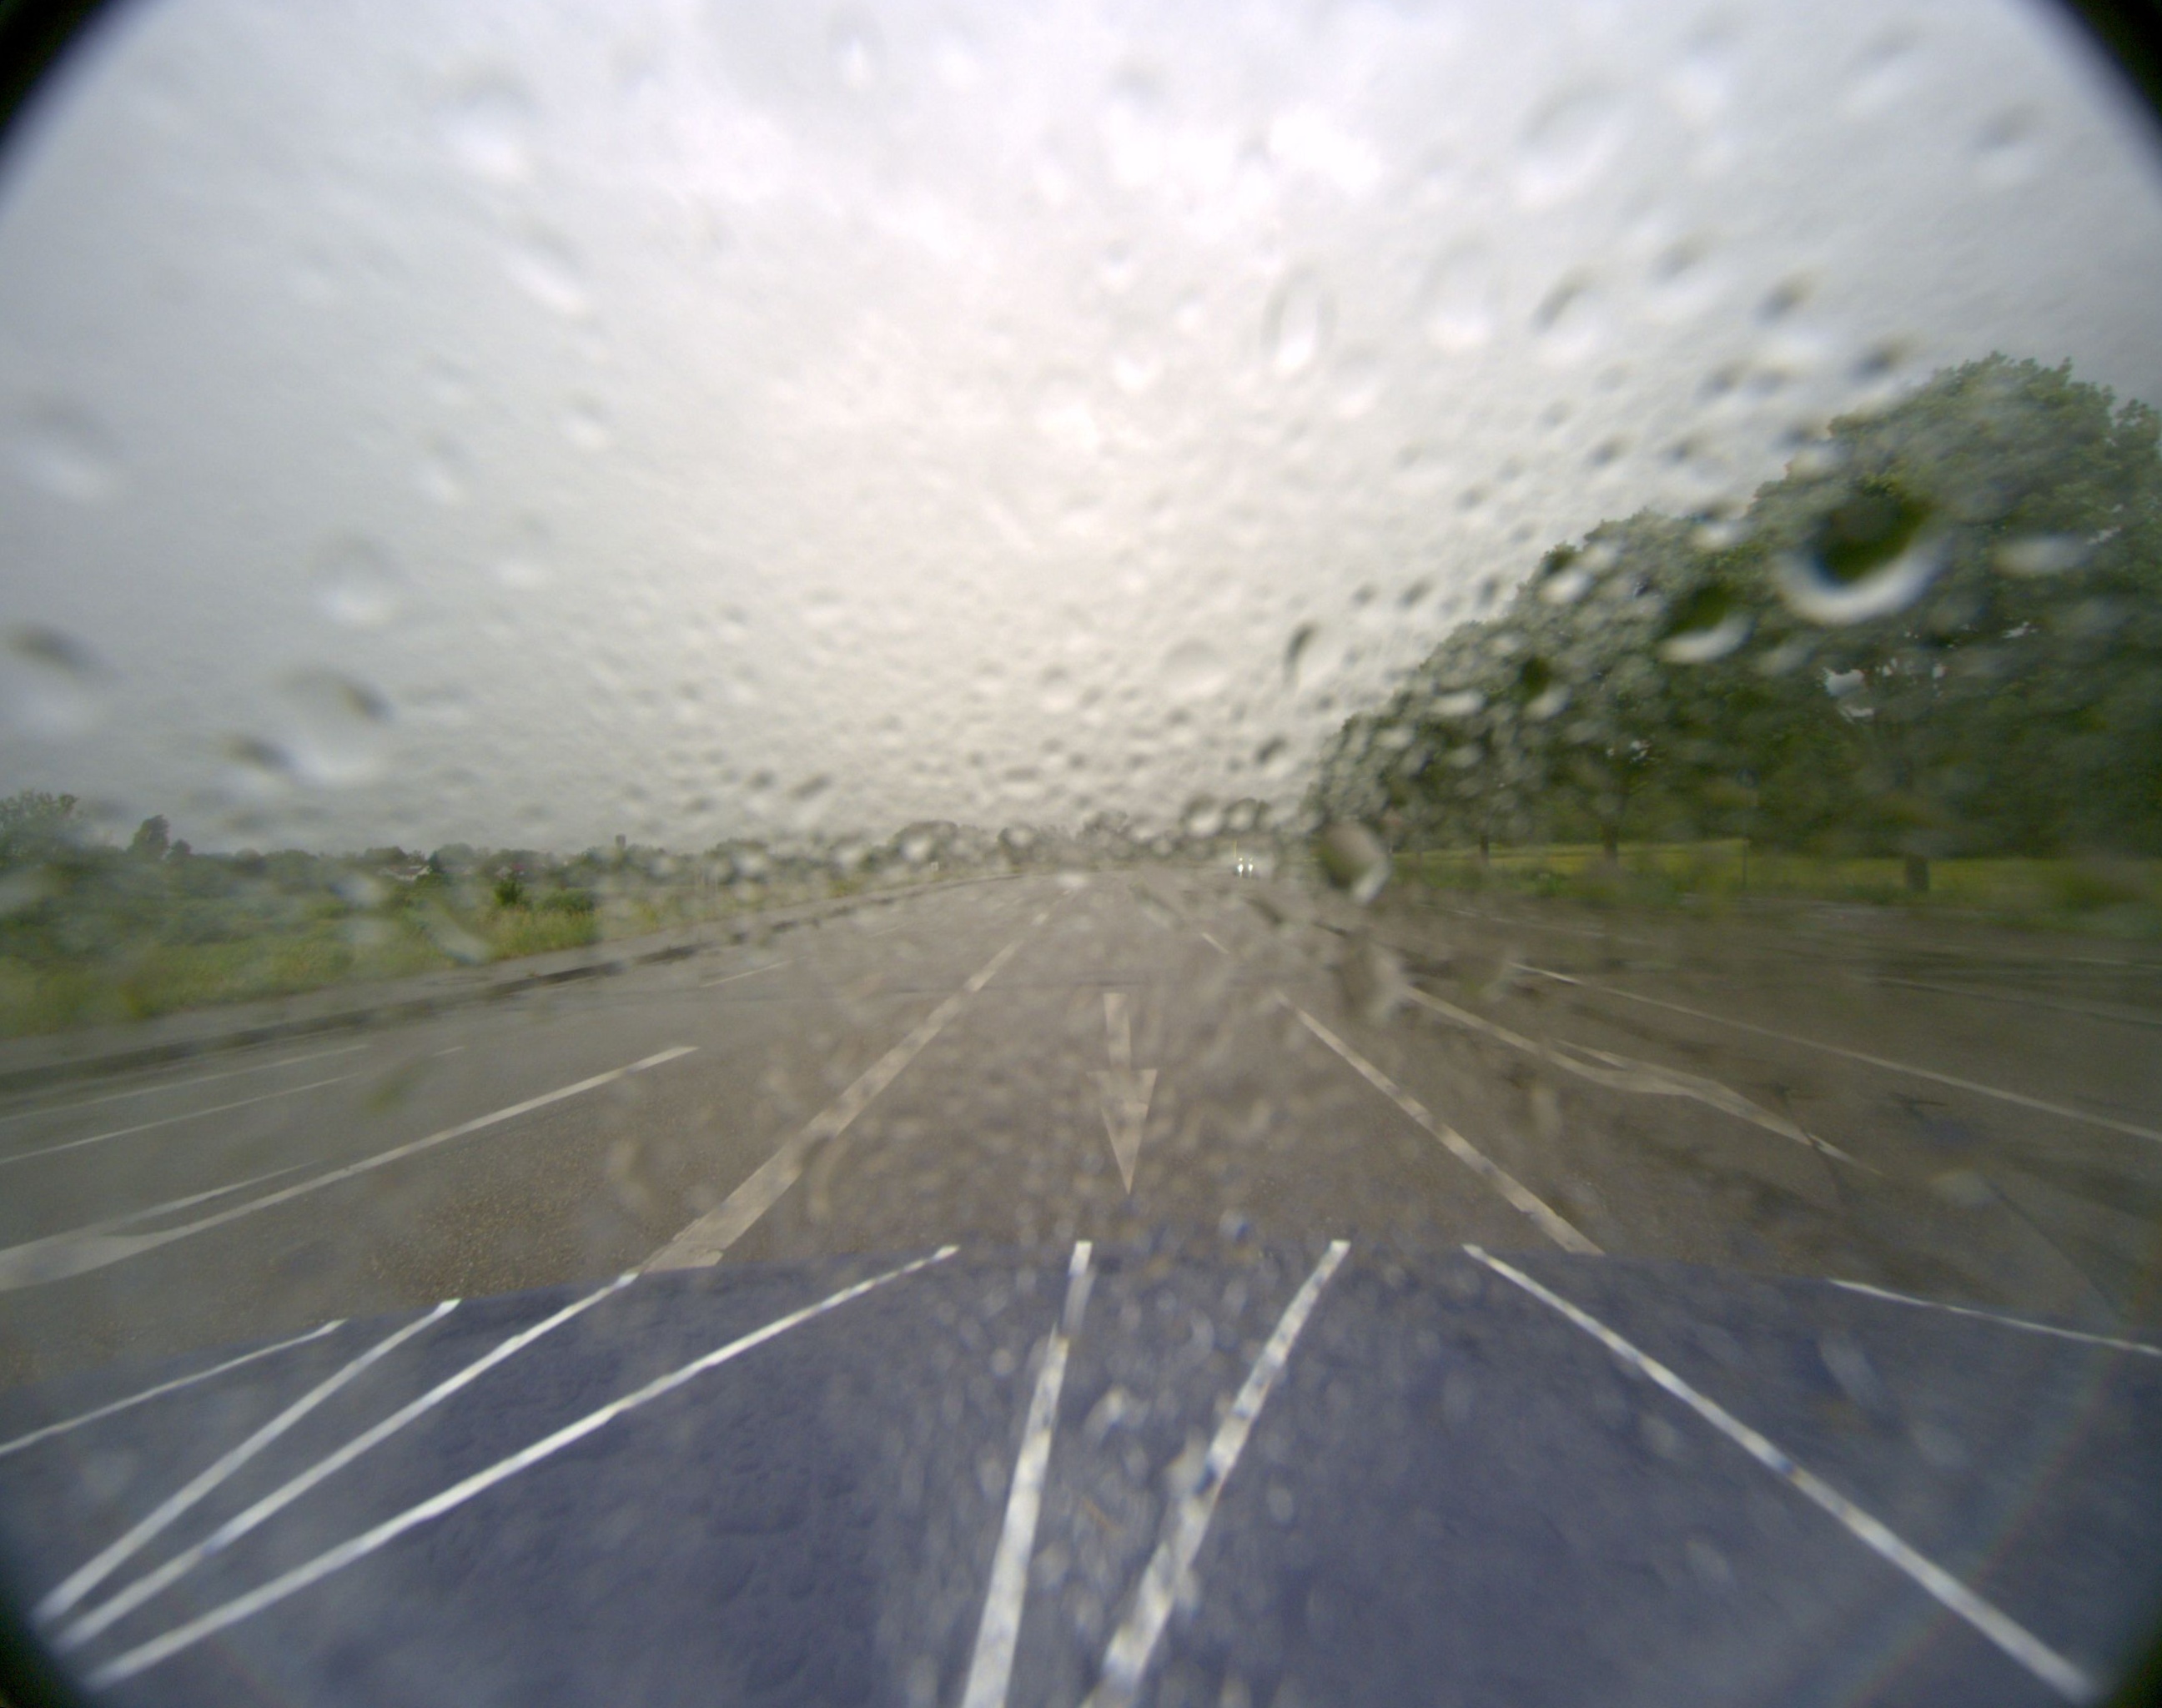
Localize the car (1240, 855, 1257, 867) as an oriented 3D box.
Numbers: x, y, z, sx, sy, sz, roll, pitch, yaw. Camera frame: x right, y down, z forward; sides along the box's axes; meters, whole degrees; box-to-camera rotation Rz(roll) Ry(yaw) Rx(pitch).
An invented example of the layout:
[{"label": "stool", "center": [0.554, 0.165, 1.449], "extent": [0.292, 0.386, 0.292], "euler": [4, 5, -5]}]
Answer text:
[{"label": "car", "center": [25.774, 1.049, 116.894], "extent": [1.913, 1.576, 4.109], "euler": [-1, 1, 22]}]

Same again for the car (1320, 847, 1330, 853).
[{"label": "car", "center": [73.435, -1.113, 228.727], "extent": [1.912, 1.678, 4.110], "euler": [-1, 1, 30]}]

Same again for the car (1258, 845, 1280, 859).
[{"label": "car", "center": [25.464, -0.283, 102.635], "extent": [2.108, 1.881, 4.798], "euler": [-1, 1, 23]}]
